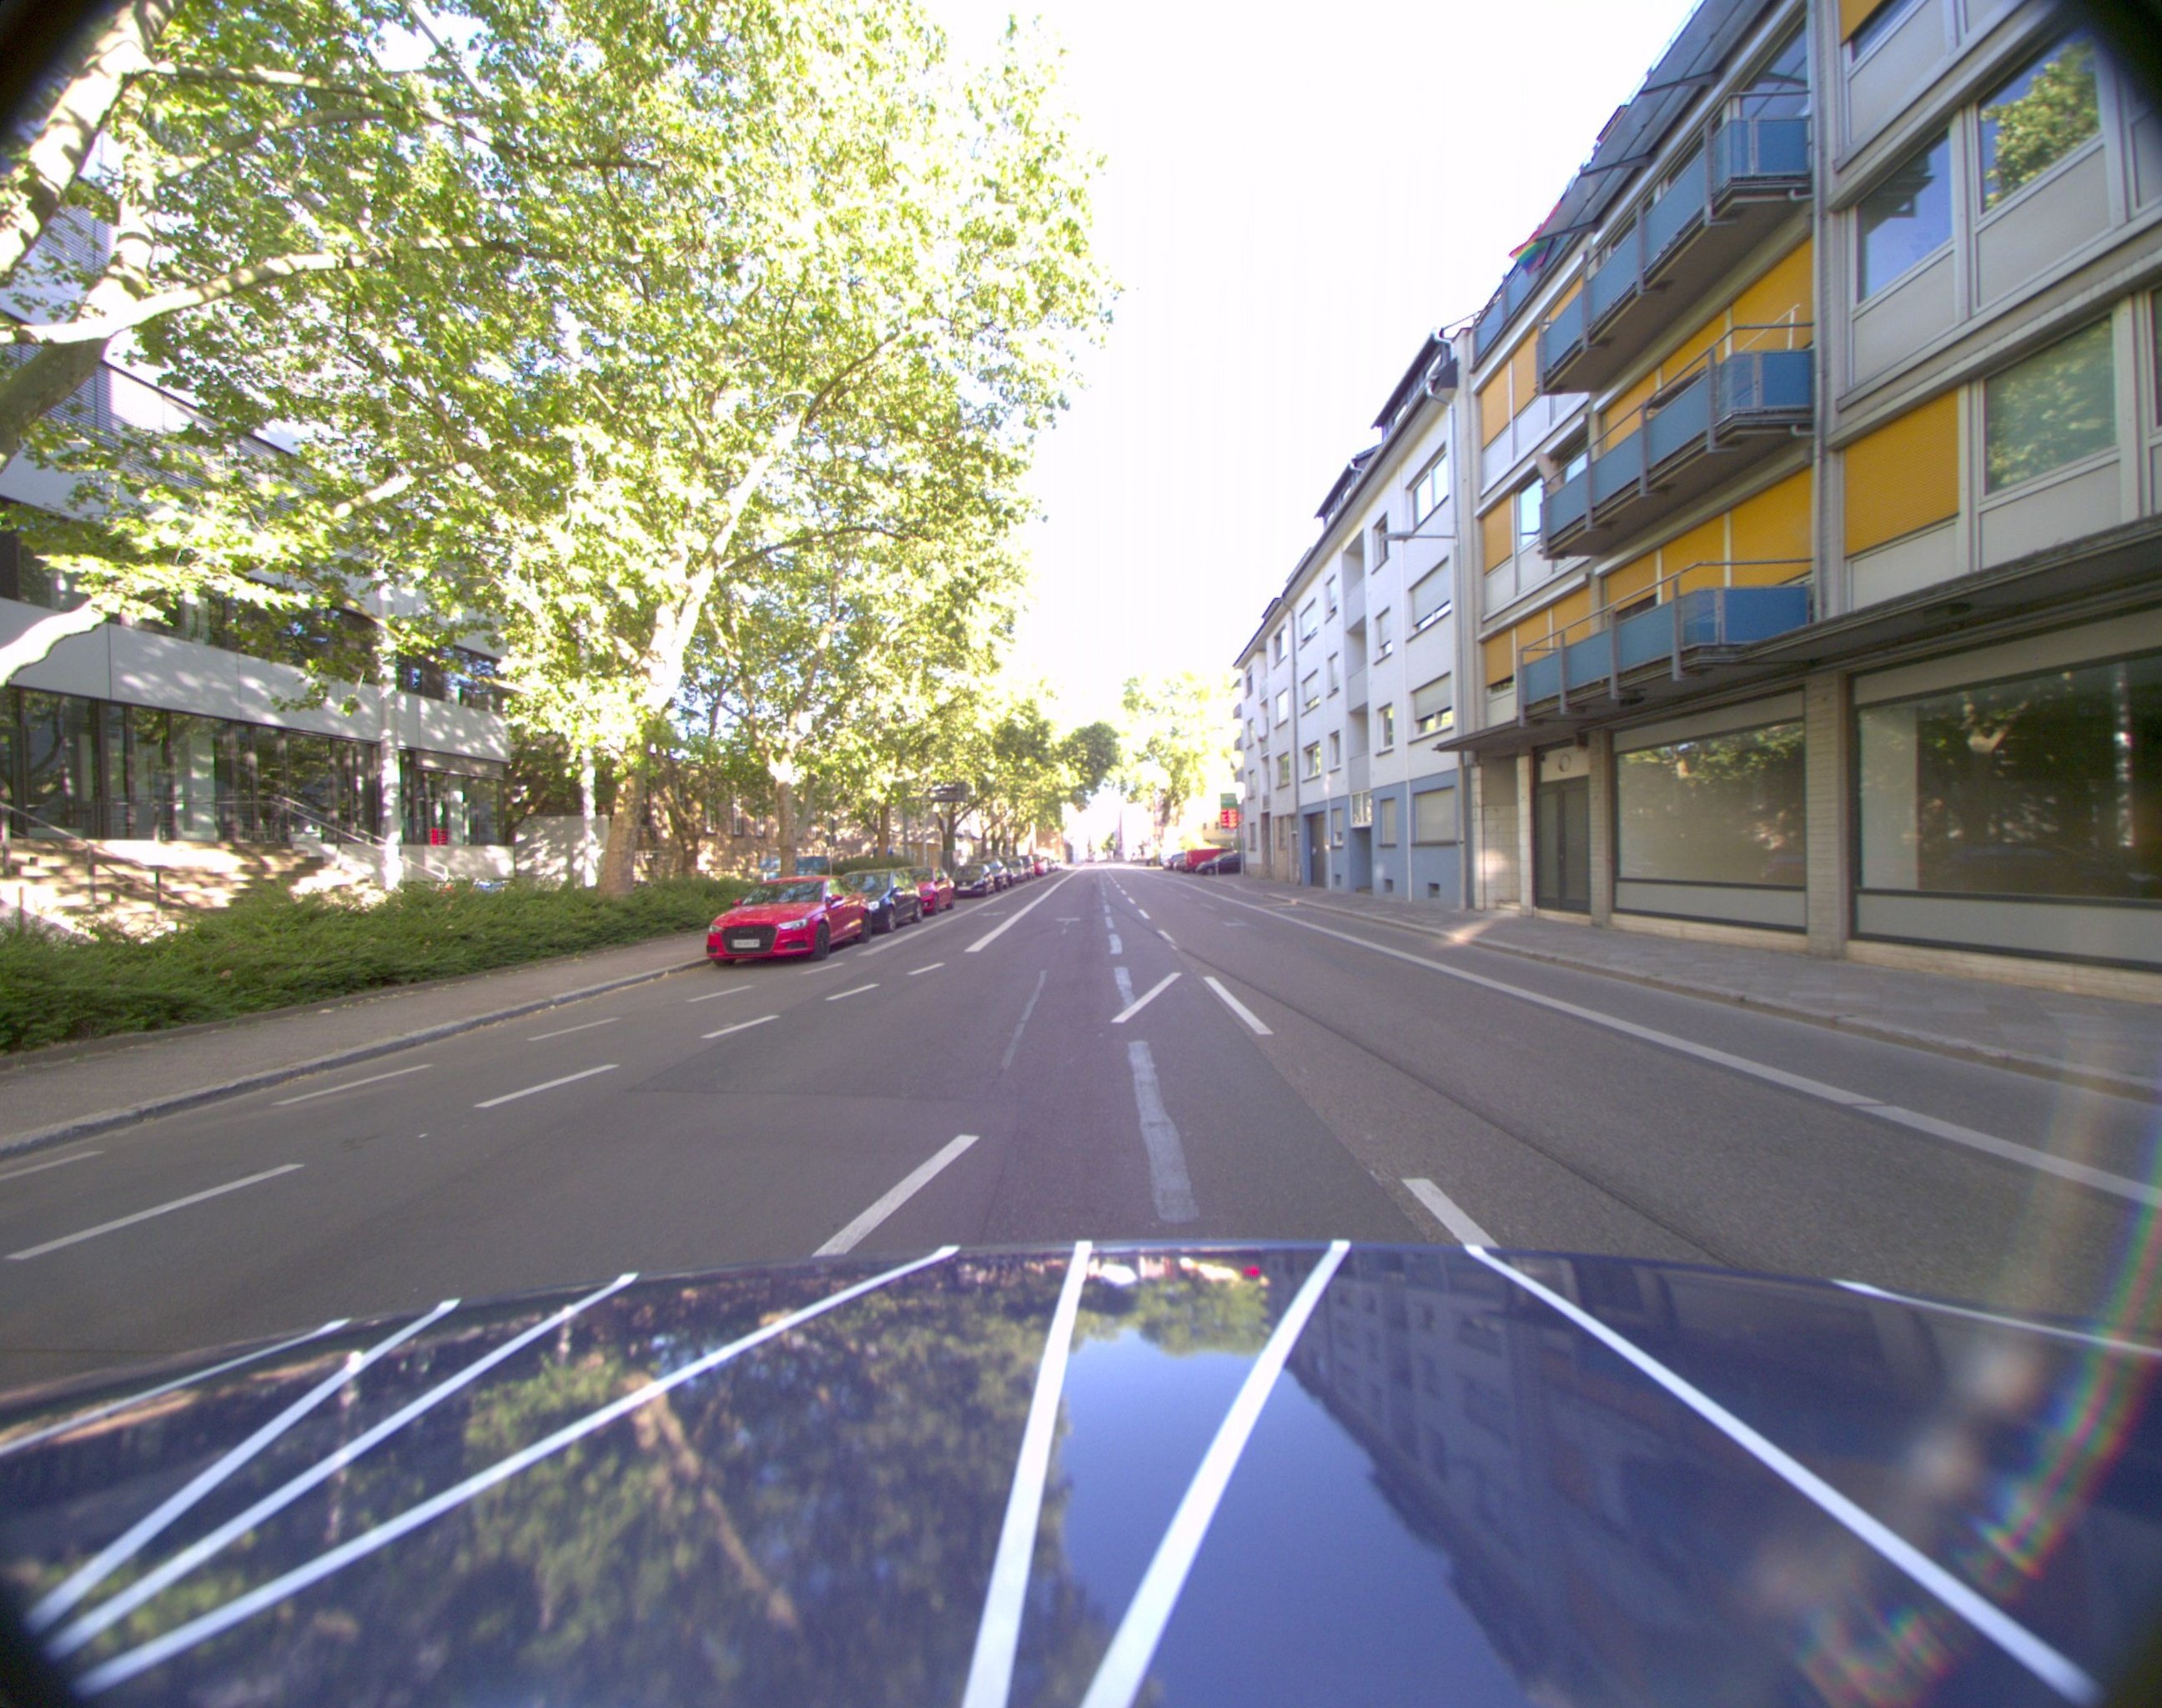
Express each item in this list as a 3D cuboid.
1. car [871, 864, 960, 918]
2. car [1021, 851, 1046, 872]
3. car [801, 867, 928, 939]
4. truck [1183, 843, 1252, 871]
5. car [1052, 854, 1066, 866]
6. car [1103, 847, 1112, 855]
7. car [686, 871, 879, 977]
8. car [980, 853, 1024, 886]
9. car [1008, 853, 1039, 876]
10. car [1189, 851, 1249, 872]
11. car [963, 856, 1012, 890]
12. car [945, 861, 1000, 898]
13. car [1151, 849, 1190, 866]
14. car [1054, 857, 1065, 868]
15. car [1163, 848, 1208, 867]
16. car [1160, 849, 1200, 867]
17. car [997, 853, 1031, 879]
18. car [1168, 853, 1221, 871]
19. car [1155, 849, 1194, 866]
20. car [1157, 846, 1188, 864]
[{"bbox_3d":[-5.038,1.085,23.675,1.790,1.429,4.000,-1,0,1],"label":"car"},{"bbox_3d":[-4.096,0.608,66.178,1.876,1.685,4.166,-1,0,1],"label":"car"},{"bbox_3d":[-5.147,1.117,18.655,1.813,1.449,4.000,-1,0,2],"label":"car"},{"bbox_3d":[10.738,0.232,60.093,5.088,2.009,2.000,-2,1,0],"label":"truck"},{"bbox_3d":[-2.993,0.808,102.813,1.707,1.459,3.809,-1,0,0],"label":"car"},{"bbox_3d":[6.788,-0.812,193.459,1.998,2.002,3.999,-2,1,1],"label":"car"},{"bbox_3d":[-5.102,1.120,13.669,1.775,1.416,4.173,-3,0,0],"label":"car"},{"bbox_3d":[-4.536,0.862,44.191,1.998,1.715,4.262,-2,1,1],"label":"car"},{"bbox_3d":[-4.159,0.744,55.508,1.831,1.608,4.177,-1,0,1],"label":"car"},{"bbox_3d":[9.917,0.533,54.839,3.997,1.385,1.781,-2,1,-1],"label":"car"},{"bbox_3d":[-4.614,0.915,38.208,1.848,1.572,4.232,-2,0,1],"label":"car"},{"bbox_3d":[-4.668,1.077,33.261,1.745,1.430,4.000,-1,0,1],"label":"car"},{"bbox_3d":[9.498,0.366,80.857,3.728,1.579,1.743,-2,1,-5],"label":"car"},{"bbox_3d":[-2.614,1.019,92.419,1.300,1.220,3.241,-1,0,0],"label":"car"},{"bbox_3d":[10.093,0.354,73.359,3.998,1.618,1.702,-2,1,-5],"label":"car"},{"bbox_3d":[9.892,0.374,75.907,3.658,1.578,1.659,-2,1,-5],"label":"car"},{"bbox_3d":[-4.431,0.732,50.452,1.798,1.608,4.075,-1,0,1],"label":"car"},{"bbox_3d":[9.369,0.637,62.811,4.033,1.265,1.906,-2,1,-1],"label":"car"},{"bbox_3d":[9.628,0.370,78.565,3.703,1.573,1.718,-2,1,-5],"label":"car"},{"bbox_3d":[10.244,0.099,85.263,3.267,1.927,1.693,-2,1,2],"label":"car"}]
